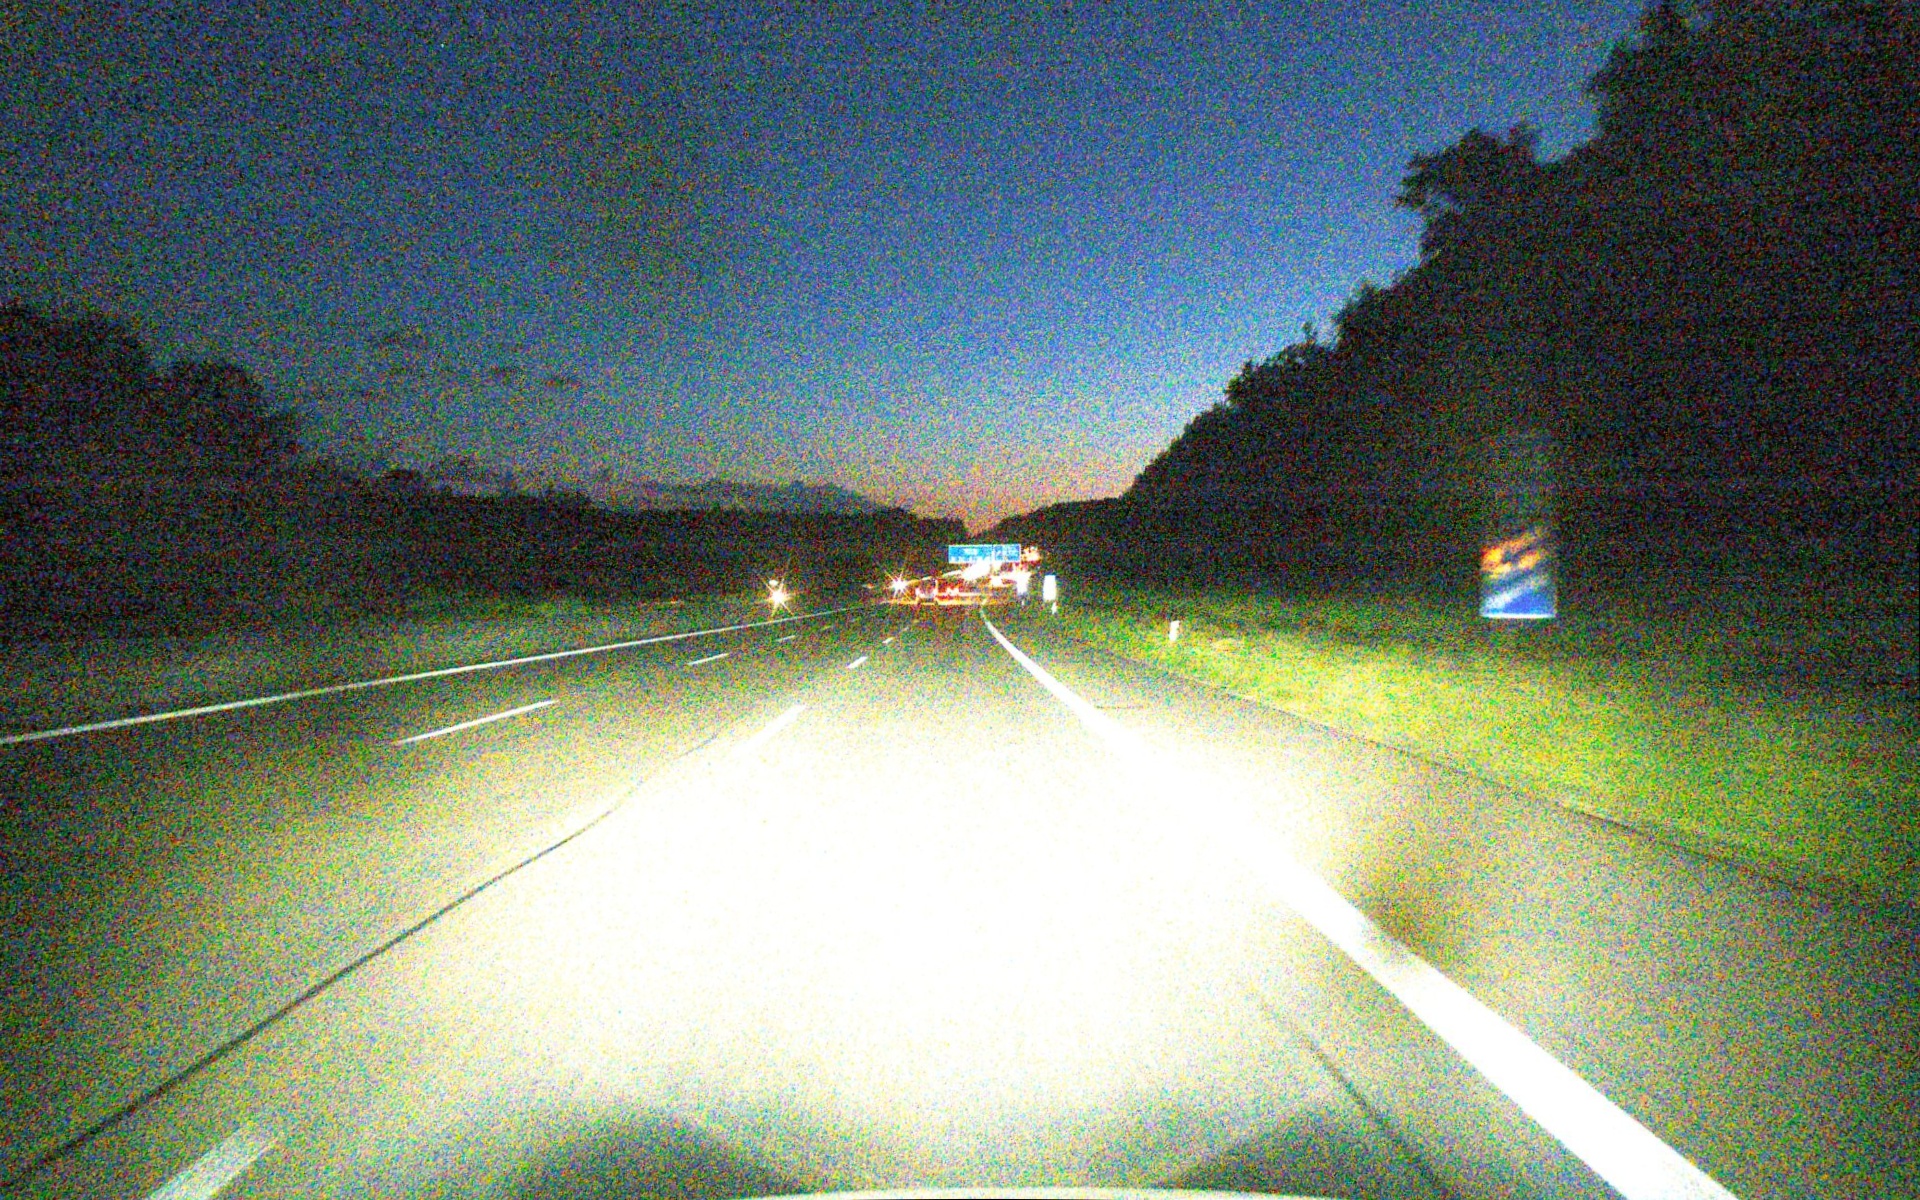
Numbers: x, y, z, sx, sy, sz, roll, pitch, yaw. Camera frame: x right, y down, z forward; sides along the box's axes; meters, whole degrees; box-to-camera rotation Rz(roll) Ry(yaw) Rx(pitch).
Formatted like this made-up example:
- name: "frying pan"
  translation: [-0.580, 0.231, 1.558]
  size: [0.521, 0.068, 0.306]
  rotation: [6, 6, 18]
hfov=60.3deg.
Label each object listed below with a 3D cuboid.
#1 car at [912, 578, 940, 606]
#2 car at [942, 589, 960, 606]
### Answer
- name: "car"
  translation: [-3.425, -0.774, 168.091]
  size: [2.730, 2.781, 6.297]
  rotation: [0, 0, -1]
- name: "car"
  translation: [-1.456, -0.393, 263.127]
  size: [2.729, 2.781, 6.299]
  rotation: [0, 0, 0]
